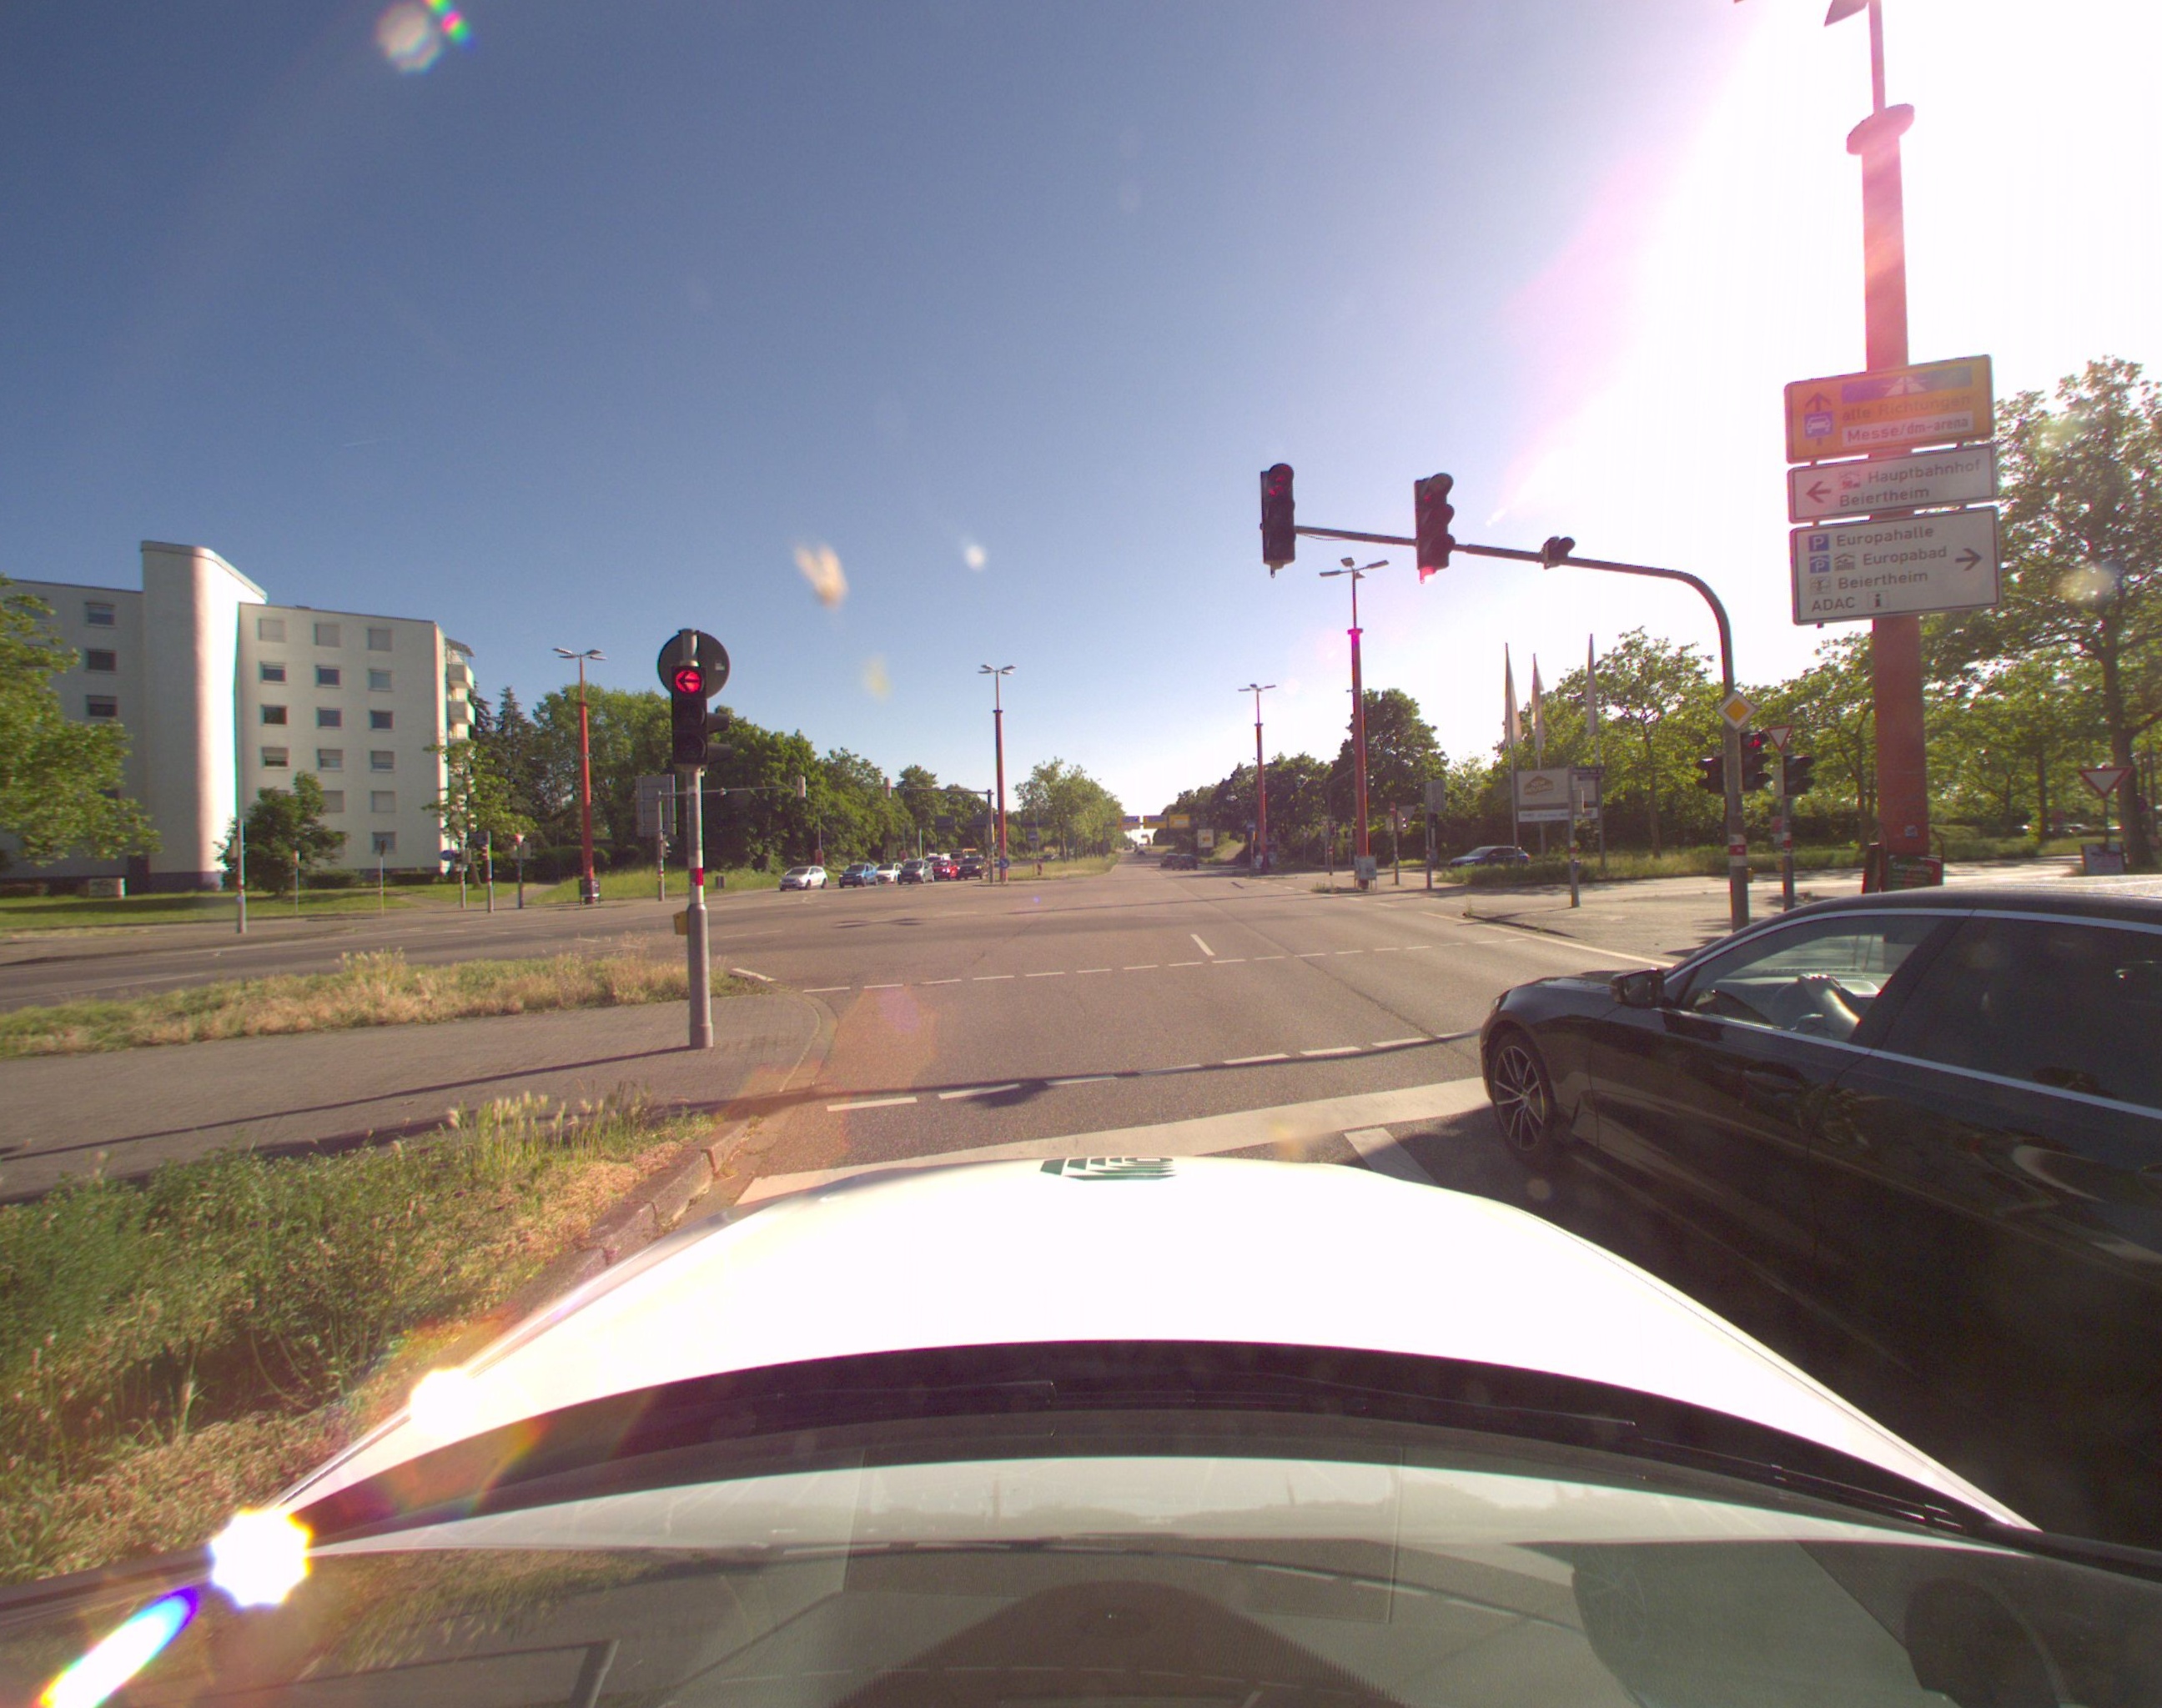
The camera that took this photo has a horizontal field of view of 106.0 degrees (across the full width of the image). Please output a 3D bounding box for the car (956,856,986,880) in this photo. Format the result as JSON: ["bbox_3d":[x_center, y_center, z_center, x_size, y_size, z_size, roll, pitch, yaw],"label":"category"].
[{"bbox_3d":[-7.563,0.937,56.484,1.874,1.573,4.112,-2,0,-6],"label":"car"}]

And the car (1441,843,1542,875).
[{"bbox_3d":[20.178,0.247,40.083,4.276,1.428,1.874,-2,0,-16],"label":"car"}]

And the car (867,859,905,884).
[{"bbox_3d":[-13.736,1.214,57.518,1.991,1.573,4.112,-3,0,-6],"label":"car"}]

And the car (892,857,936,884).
[{"bbox_3d":[-10.730,1.044,52.575,1.988,1.573,4.119,-2,0,-1],"label":"car"}]

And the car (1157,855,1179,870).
[{"bbox_3d":[9.930,0.984,92.755,2.150,1.573,4.585,-2,0,2],"label":"car"}]

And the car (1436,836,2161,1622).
[{"bbox_3d":[2.957,0.663,2.368,1.986,1.394,4.479,-2,0,2],"label":"car"}]

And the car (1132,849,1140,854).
[{"bbox_3d":[17.014,-0.804,253.545,2.153,1.573,4.277,-2,0,-2],"label":"car"}]

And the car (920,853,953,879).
[{"bbox_3d":[-12.733,1.052,71.981,2.055,2.193,4.377,-2,0,0],"label":"car"}]

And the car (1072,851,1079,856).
[{"bbox_3d":[-1.601,-0.200,247.644,1.872,1.573,4.117,-2,0,-2],"label":"car"}]

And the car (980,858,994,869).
[{"bbox_3d":[-14.462,1.485,125.681,1.872,1.573,4.117,-2,0,-2],"label":"car"}]

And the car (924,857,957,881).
[{"bbox_3d":[-10.101,1.044,58.866,1.991,1.573,4.112,-2,0,-6],"label":"car"}]

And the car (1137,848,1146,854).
[{"bbox_3d":[17.343,-0.890,233.056,2.151,1.573,4.281,-2,0,1],"label":"car"}]

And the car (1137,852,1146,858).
[{"bbox_3d":[15.462,0.267,207.964,2.149,1.573,4.285,-2,0,4],"label":"car"}]

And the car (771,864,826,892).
[{"bbox_3d":[-17.691,1.465,51.175,1.987,1.573,4.120,-2,0,0],"label":"car"}]

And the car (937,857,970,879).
[{"bbox_3d":[-10.063,1.091,64.648,1.988,1.573,4.118,-2,0,-1],"label":"car"}]

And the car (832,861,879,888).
[{"bbox_3d":[-14.234,1.282,51.635,1.989,1.573,4.116,-2,0,-3],"label":"car"}]

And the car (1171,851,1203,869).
[{"bbox_3d":[9.865,0.573,75.998,2.154,1.573,4.275,-2,0,-3],"label":"car"}]

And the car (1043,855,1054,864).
[{"bbox_3d":[-6.045,1.086,150.728,1.872,1.573,4.117,-2,0,-2],"label":"car"}]

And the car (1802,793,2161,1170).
[{"bbox_3d":[5.804,0.558,3.256,1.959,1.686,4.479,-1,0,2],"label":"car"}]
